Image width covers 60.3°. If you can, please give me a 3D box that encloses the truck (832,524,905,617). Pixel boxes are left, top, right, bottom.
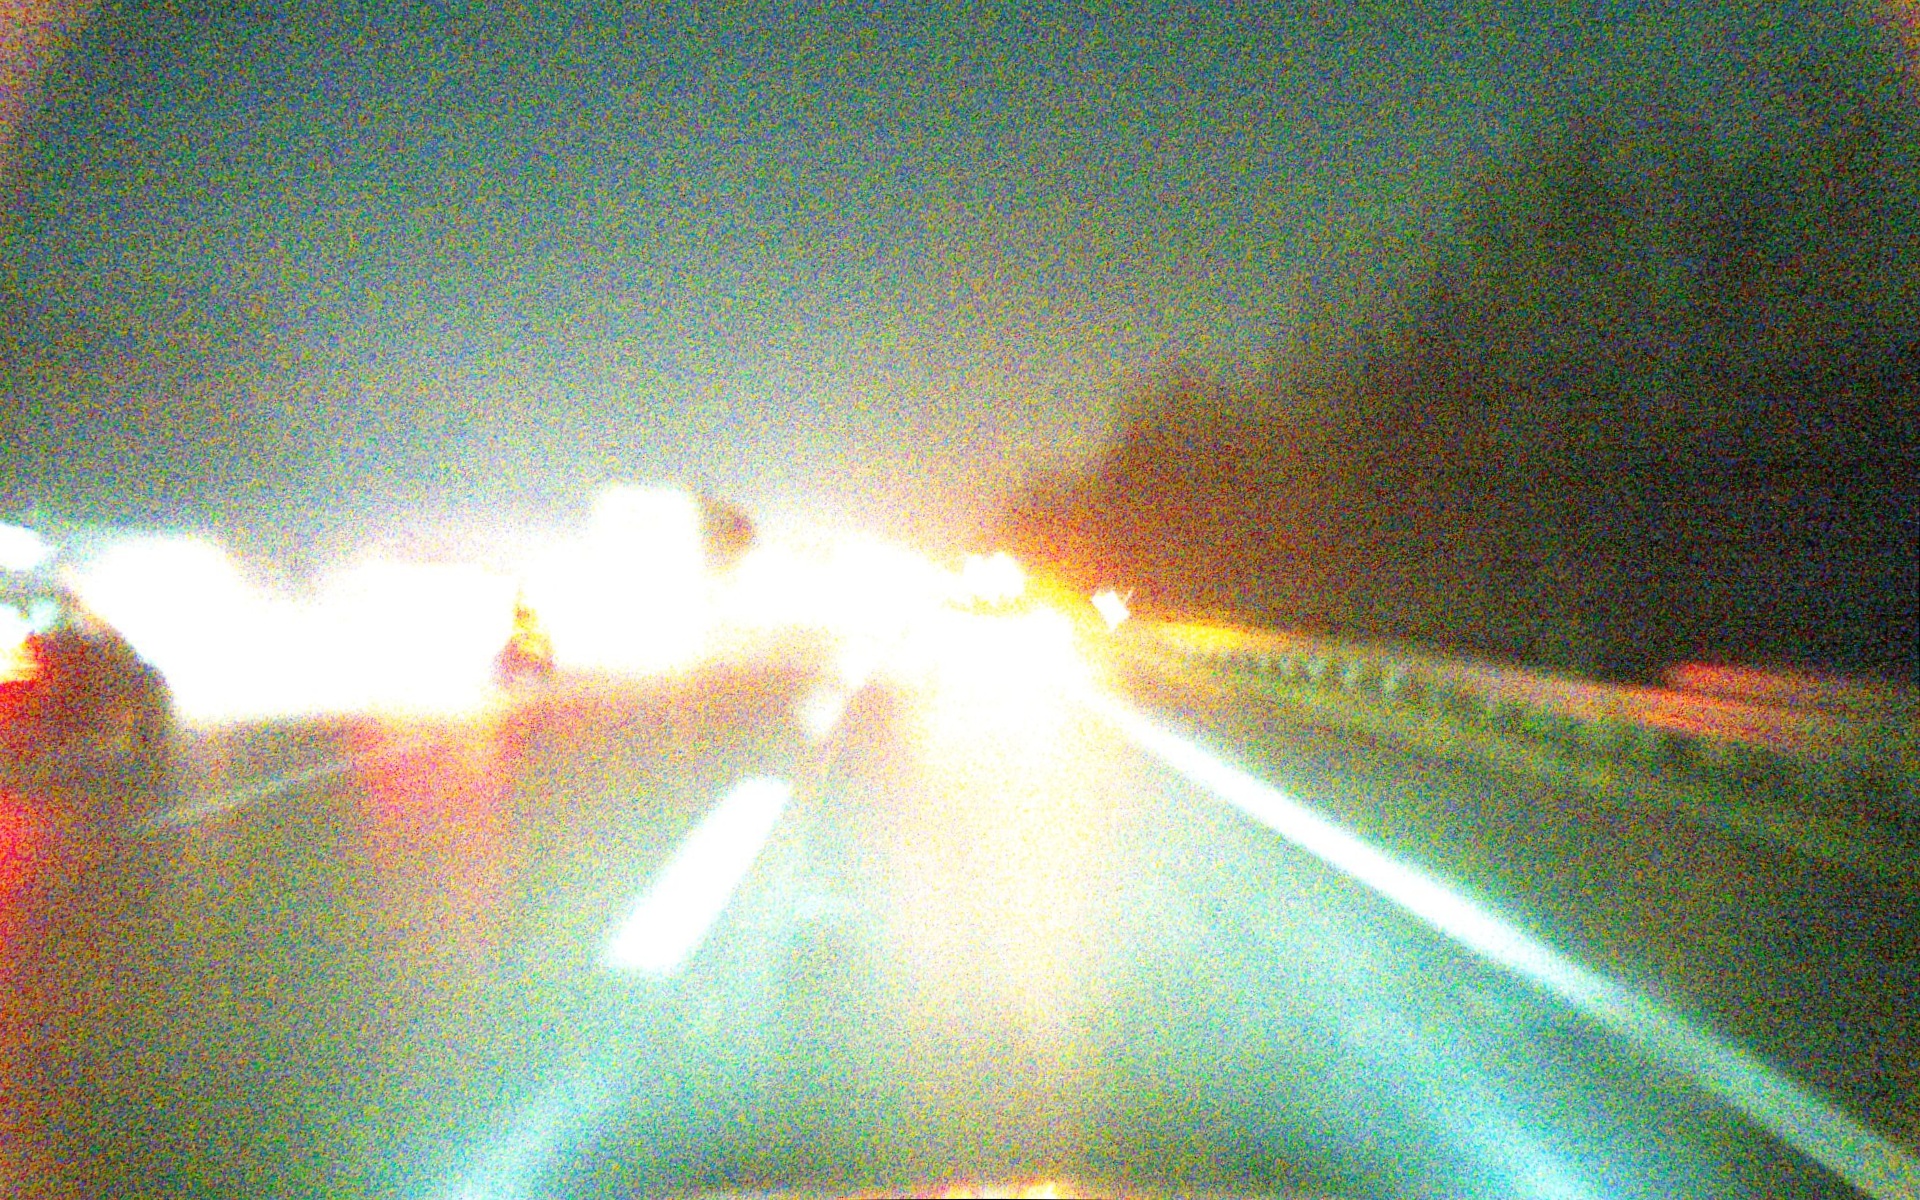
[{"bbox_3d":[-5.582,-1.701,100.353,4.079,5.306,9.946,1,0,-4],"label":"truck"}]

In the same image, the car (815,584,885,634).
[{"bbox_3d":[-4.819,0.376,73.229,2.775,2.049,5.509,1,0,-1],"label":"car"}]

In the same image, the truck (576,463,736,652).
[{"bbox_3d":[-8.551,-1.106,47.868,3.585,4.820,9.841,1,0,-5],"label":"truck"}]

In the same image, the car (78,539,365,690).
[{"bbox_3d":[-11.581,0.191,26.485,2.080,2.141,5.629,1,0,-1],"label":"car"}]

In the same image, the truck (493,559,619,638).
[{"bbox_3d":[-12.298,-0.054,50.815,2.801,2.239,5.853,1,0,-5],"label":"truck"}]

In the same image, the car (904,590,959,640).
[{"bbox_3d":[-1.055,0.526,61.533,1.953,1.733,4.457,1,0,-1],"label":"car"}]

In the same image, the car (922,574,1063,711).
[{"bbox_3d":[0.422,0.561,23.949,1.839,1.793,3.999,1,0,-1],"label":"car"}]

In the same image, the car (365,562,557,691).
[{"bbox_3d":[-7.582,0.372,25.602,2.000,1.792,4.509,1,0,-6],"label":"car"}]

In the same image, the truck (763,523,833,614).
[{"bbox_3d":[-10.405,-1.939,107.222,4.171,5.539,10.874,1,0,-5],"label":"truck"}]

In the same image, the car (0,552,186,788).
[{"bbox_3d":[-7.994,0.470,13.546,1.731,1.718,3.996,1,1,-6],"label":"car"}]

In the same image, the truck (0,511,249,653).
[{"bbox_3d":[-32.526,-0.632,63.289,3.341,4.638,17.594,1,0,-1],"label":"truck"}]
